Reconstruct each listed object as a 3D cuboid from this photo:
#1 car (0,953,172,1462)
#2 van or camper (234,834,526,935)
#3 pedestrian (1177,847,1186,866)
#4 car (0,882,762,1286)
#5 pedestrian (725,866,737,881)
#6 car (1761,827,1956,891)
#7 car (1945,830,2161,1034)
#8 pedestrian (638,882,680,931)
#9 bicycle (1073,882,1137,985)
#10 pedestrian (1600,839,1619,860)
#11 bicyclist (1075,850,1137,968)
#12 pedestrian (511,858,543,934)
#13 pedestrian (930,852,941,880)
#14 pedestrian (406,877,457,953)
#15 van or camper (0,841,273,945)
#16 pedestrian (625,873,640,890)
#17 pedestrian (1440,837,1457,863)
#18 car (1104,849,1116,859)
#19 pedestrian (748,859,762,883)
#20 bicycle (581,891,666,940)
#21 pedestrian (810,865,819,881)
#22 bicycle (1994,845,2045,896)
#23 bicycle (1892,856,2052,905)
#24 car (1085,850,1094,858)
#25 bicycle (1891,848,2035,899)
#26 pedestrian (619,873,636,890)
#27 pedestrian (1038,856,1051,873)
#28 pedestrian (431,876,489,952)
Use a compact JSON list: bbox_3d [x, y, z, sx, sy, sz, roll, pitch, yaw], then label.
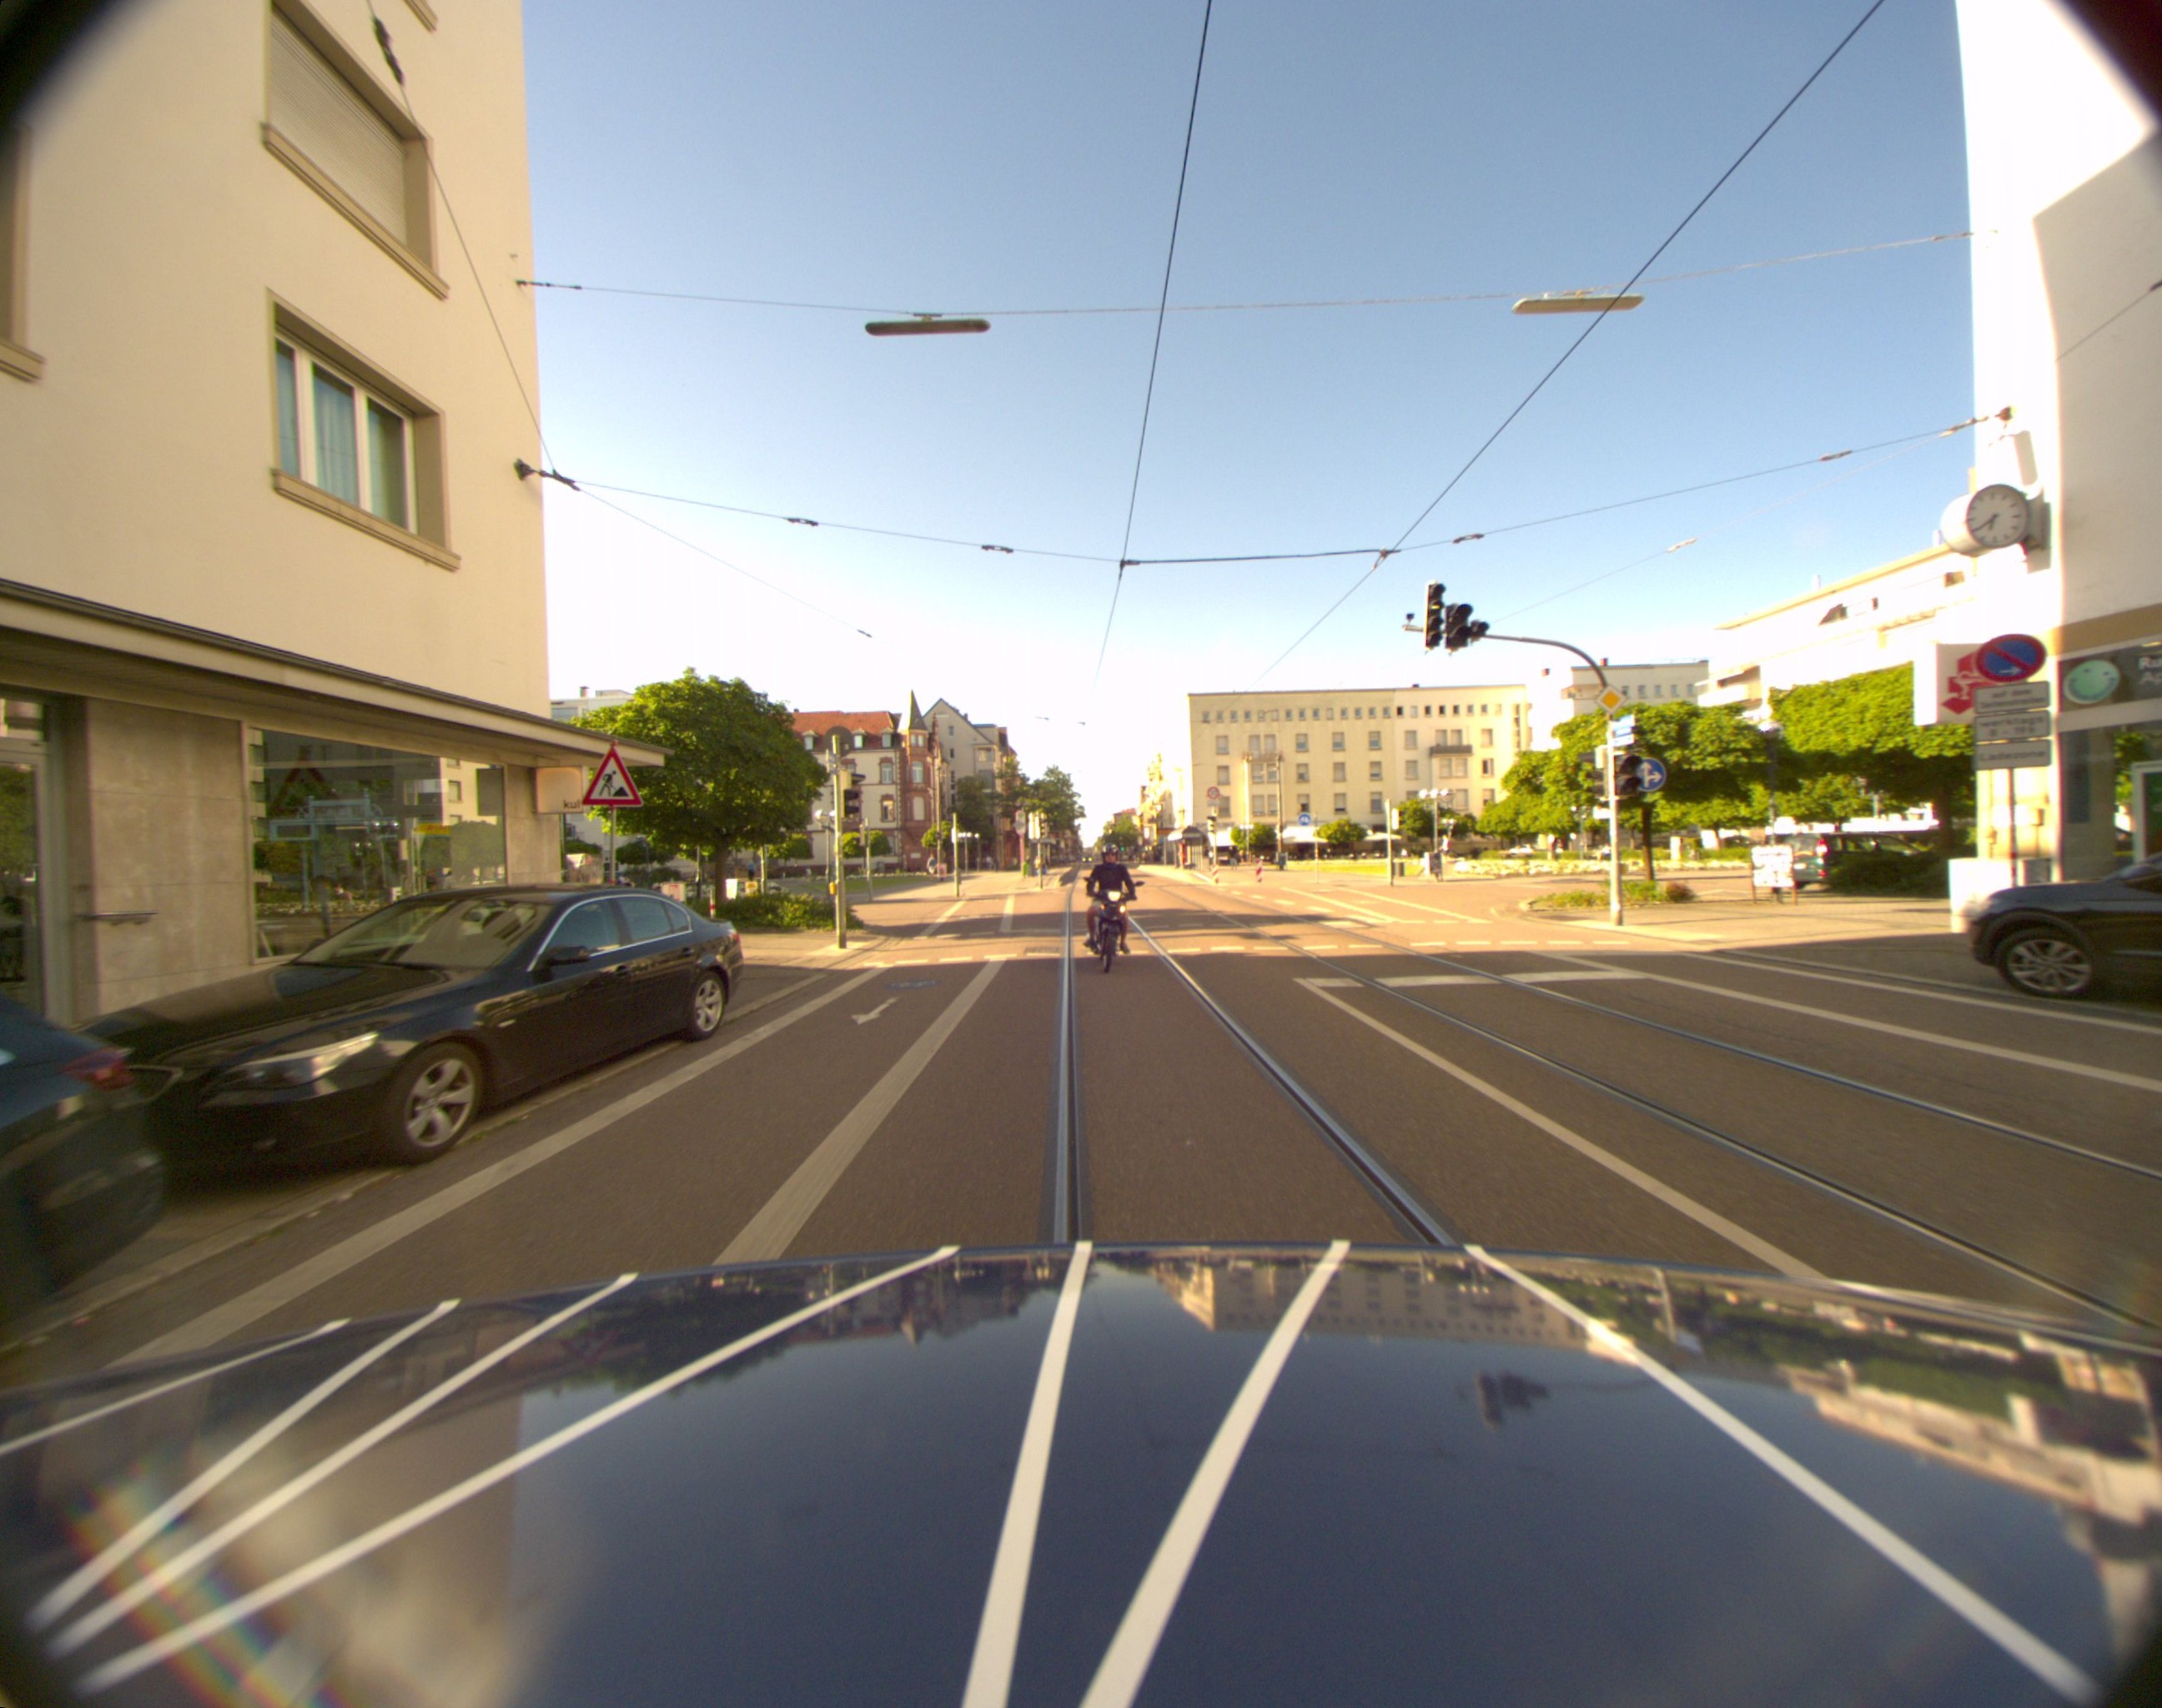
[{"bbox_3d":[-4.191,1.119,0.491,1.862,1.498,4.505,1,0,-2],"label":"car"},{"bbox_3d":[-21.393,0.902,23.403,6.929,2.797,2.219,-2,1,1],"label":"van or camper"},{"bbox_3d":[8.005,0.167,60.803,0.551,1.482,0.610,-2,1,-6],"label":"pedestrian"},{"bbox_3d":[-4.406,1.085,5.746,1.752,1.498,4.919,1,0,2],"label":"car"},{"bbox_3d":[-31.032,1.747,67.363,0.710,1.285,0.679,-2,1,-1],"label":"pedestrian"},{"bbox_3d":[22.825,0.144,22.414,3.989,1.700,1.677,-2,1,1],"label":"car"},{"bbox_3d":[9.432,0.609,5.517,1.787,1.543,3.992,-4,0,2],"label":"car"},{"bbox_3d":[-10.986,1.365,19.781,0.734,1.206,0.551,-2,1,8],"label":"pedestrian"},{"bbox_3d":[0.346,1.032,10.378,0.767,1.191,1.752,-2,1,3],"label":"bicycle"},{"bbox_3d":[36.200,-0.333,52.066,0.838,1.410,0.667,-2,1,-1],"label":"pedestrian"},{"bbox_3d":[0.345,0.721,10.423,0.774,1.531,0.939,-2,1,2],"label":"bicyclist"},{"bbox_3d":[-13.287,1.002,18.246,0.553,1.778,0.540,-2,1,-33],"label":"pedestrian"},{"bbox_3d":[-10.464,0.851,54.543,0.650,1.944,0.583,-2,1,-16],"label":"pedestrian"},{"bbox_3d":[-14.161,1.315,16.570,0.552,1.594,0.591,-1,1,1],"label":"pedestrian"},{"bbox_3d":[-29.333,1.131,22.916,6.927,2.797,2.923,-2,1,3],"label":"van or camper"},{"bbox_3d":[-31.634,1.916,53.595,0.717,1.144,0.637,-2,1,-8],"label":"pedestrian"},{"bbox_3d":[23.839,-0.272,49.278,0.669,1.686,0.837,-2,1,-45],"label":"pedestrian"},{"bbox_3d":[4.917,-0.005,127.940,1.970,1.577,4.000,-2,0,3],"label":"car"},{"bbox_3d":[-21.665,1.114,50.478,0.650,1.592,0.700,-2,1,-35],"label":"pedestrian"},{"bbox_3d":[-9.748,1.307,16.206,1.666,0.979,0.359,-1,1,8],"label":"bicycle"},{"bbox_3d":[-19.021,1.366,54.302,0.453,1.076,0.449,-2,1,-39],"label":"pedestrian"},{"bbox_3d":[22.354,0.370,18.085,2.441,1.118,0.627,-2,1,-36],"label":"bicycle"},{"bbox_3d":[20.129,0.558,17.281,0.755,0.982,2.493,-2,0,2],"label":"bicycle"},{"bbox_3d":[1.812,0.010,162.408,1.970,1.577,4.000,-2,0,1],"label":"car"},{"bbox_3d":[20.877,0.427,18.083,0.628,1.118,2.437,-2,0,1],"label":"bicycle"},{"bbox_3d":[-31.531,1.922,52.827,0.768,1.144,0.637,-2,1,-8],"label":"pedestrian"},{"bbox_3d":[-2.576,0.719,53.678,0.774,1.197,0.610,-2,1,-8],"label":"pedestrian"},{"bbox_3d":[-13.531,1.286,16.575,0.615,1.594,0.744,-1,1,1],"label":"pedestrian"}]
